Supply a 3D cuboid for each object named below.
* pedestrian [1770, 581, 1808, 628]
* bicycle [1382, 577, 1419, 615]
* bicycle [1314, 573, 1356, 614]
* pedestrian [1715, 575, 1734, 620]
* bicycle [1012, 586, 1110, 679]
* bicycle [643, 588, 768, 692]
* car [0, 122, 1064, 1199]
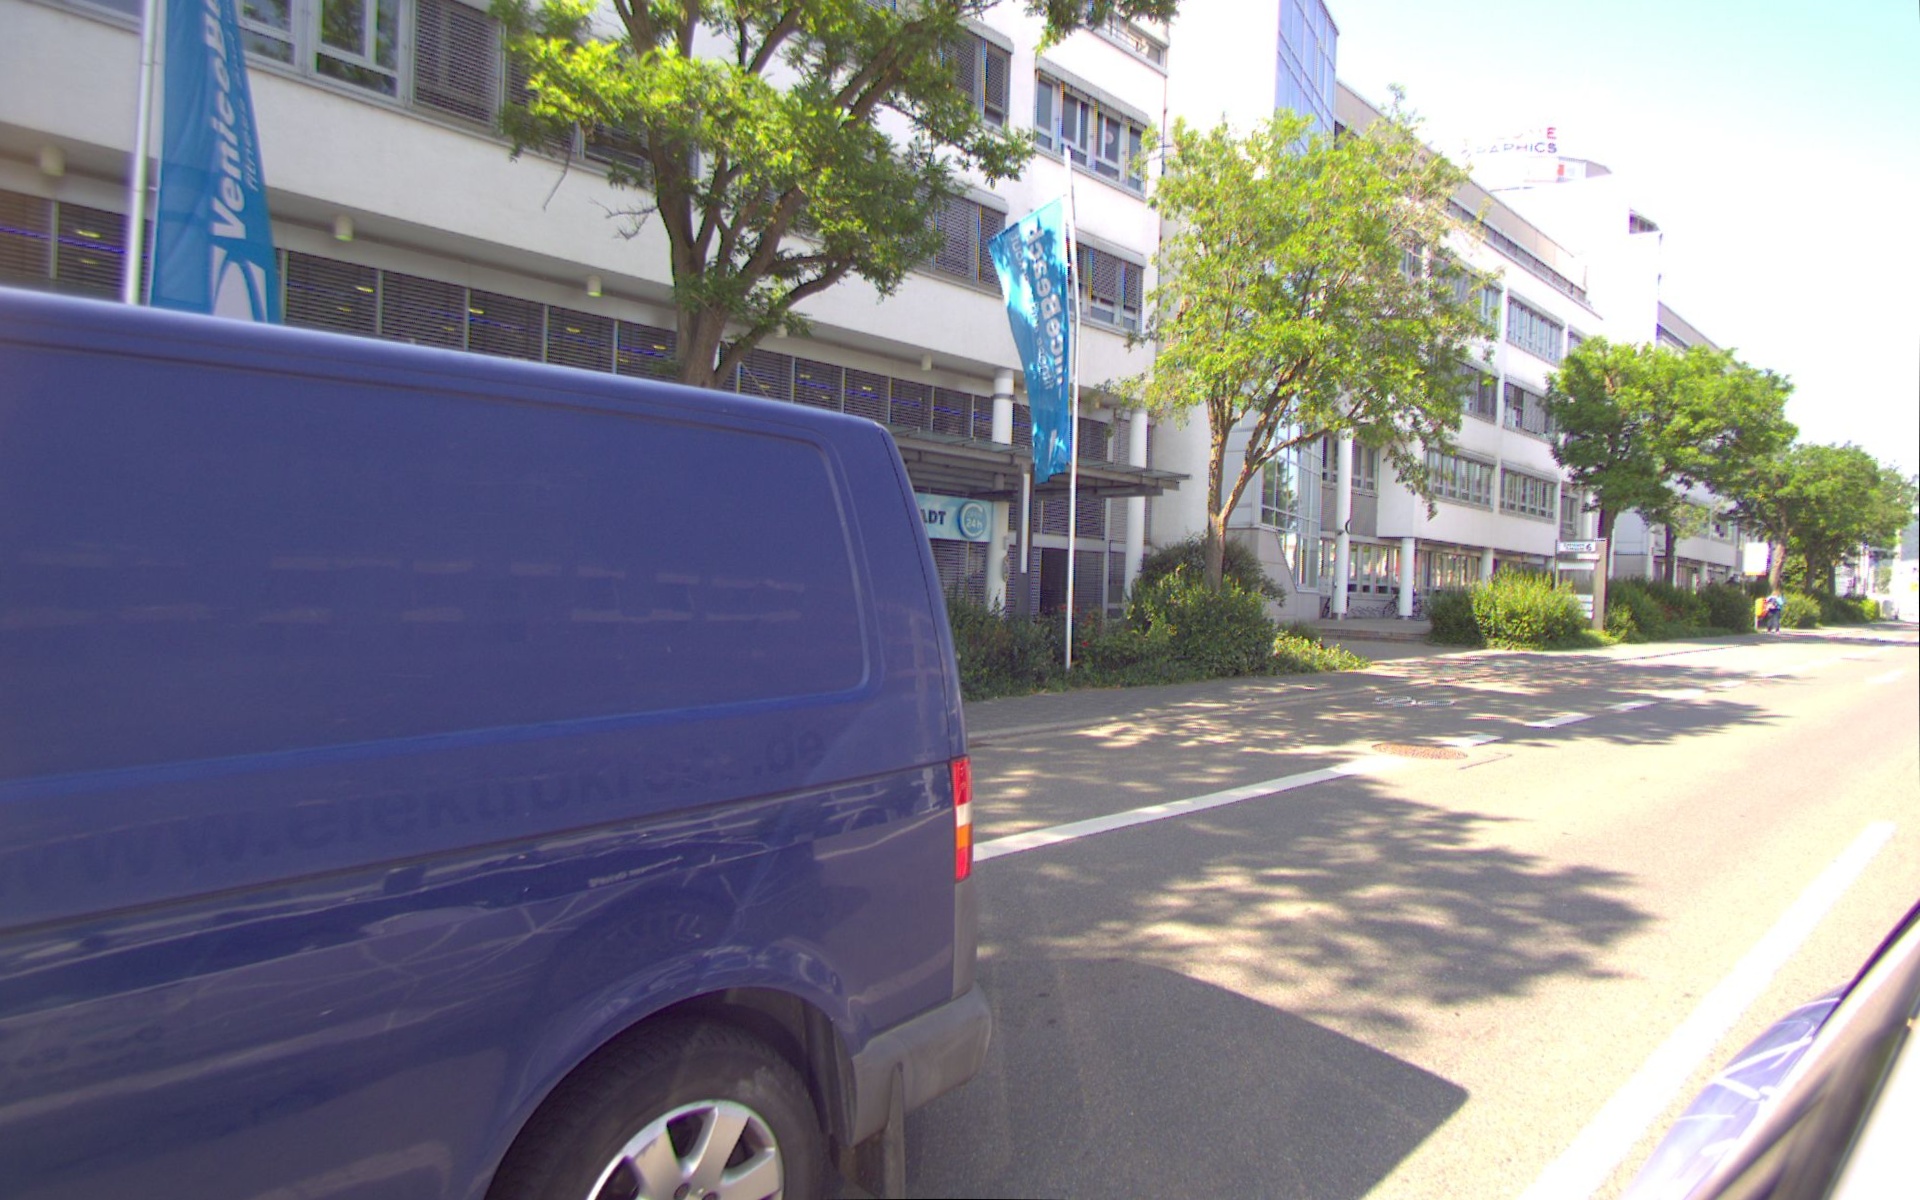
[{"bbox_3d":[35.189,0.180,42.954,1.267,1.909,0.942,0,4,-41],"label":"pedestrian"},{"bbox_3d":[16.353,-0.147,37.529,1.852,1.371,0.506,0,1,-41],"label":"bicycle"},{"bbox_3d":[12.944,-0.215,34.933,1.852,1.371,0.506,0,1,-41],"label":"bicycle"},{"bbox_3d":[45.081,-0.159,59.670,0.704,2.581,0.716,0,1,-43],"label":"pedestrian"},{"bbox_3d":[1.592,0.477,15.718,0.504,1.346,1.856,2,1,41],"label":"bicycle"},{"bbox_3d":[-3.634,0.535,14.383,1.868,1.346,0.501,2,1,30],"label":"bicycle"},{"bbox_3d":[-2.222,0.408,1.554,4.806,1.972,1.997,-1,2,-41],"label":"car"}]
